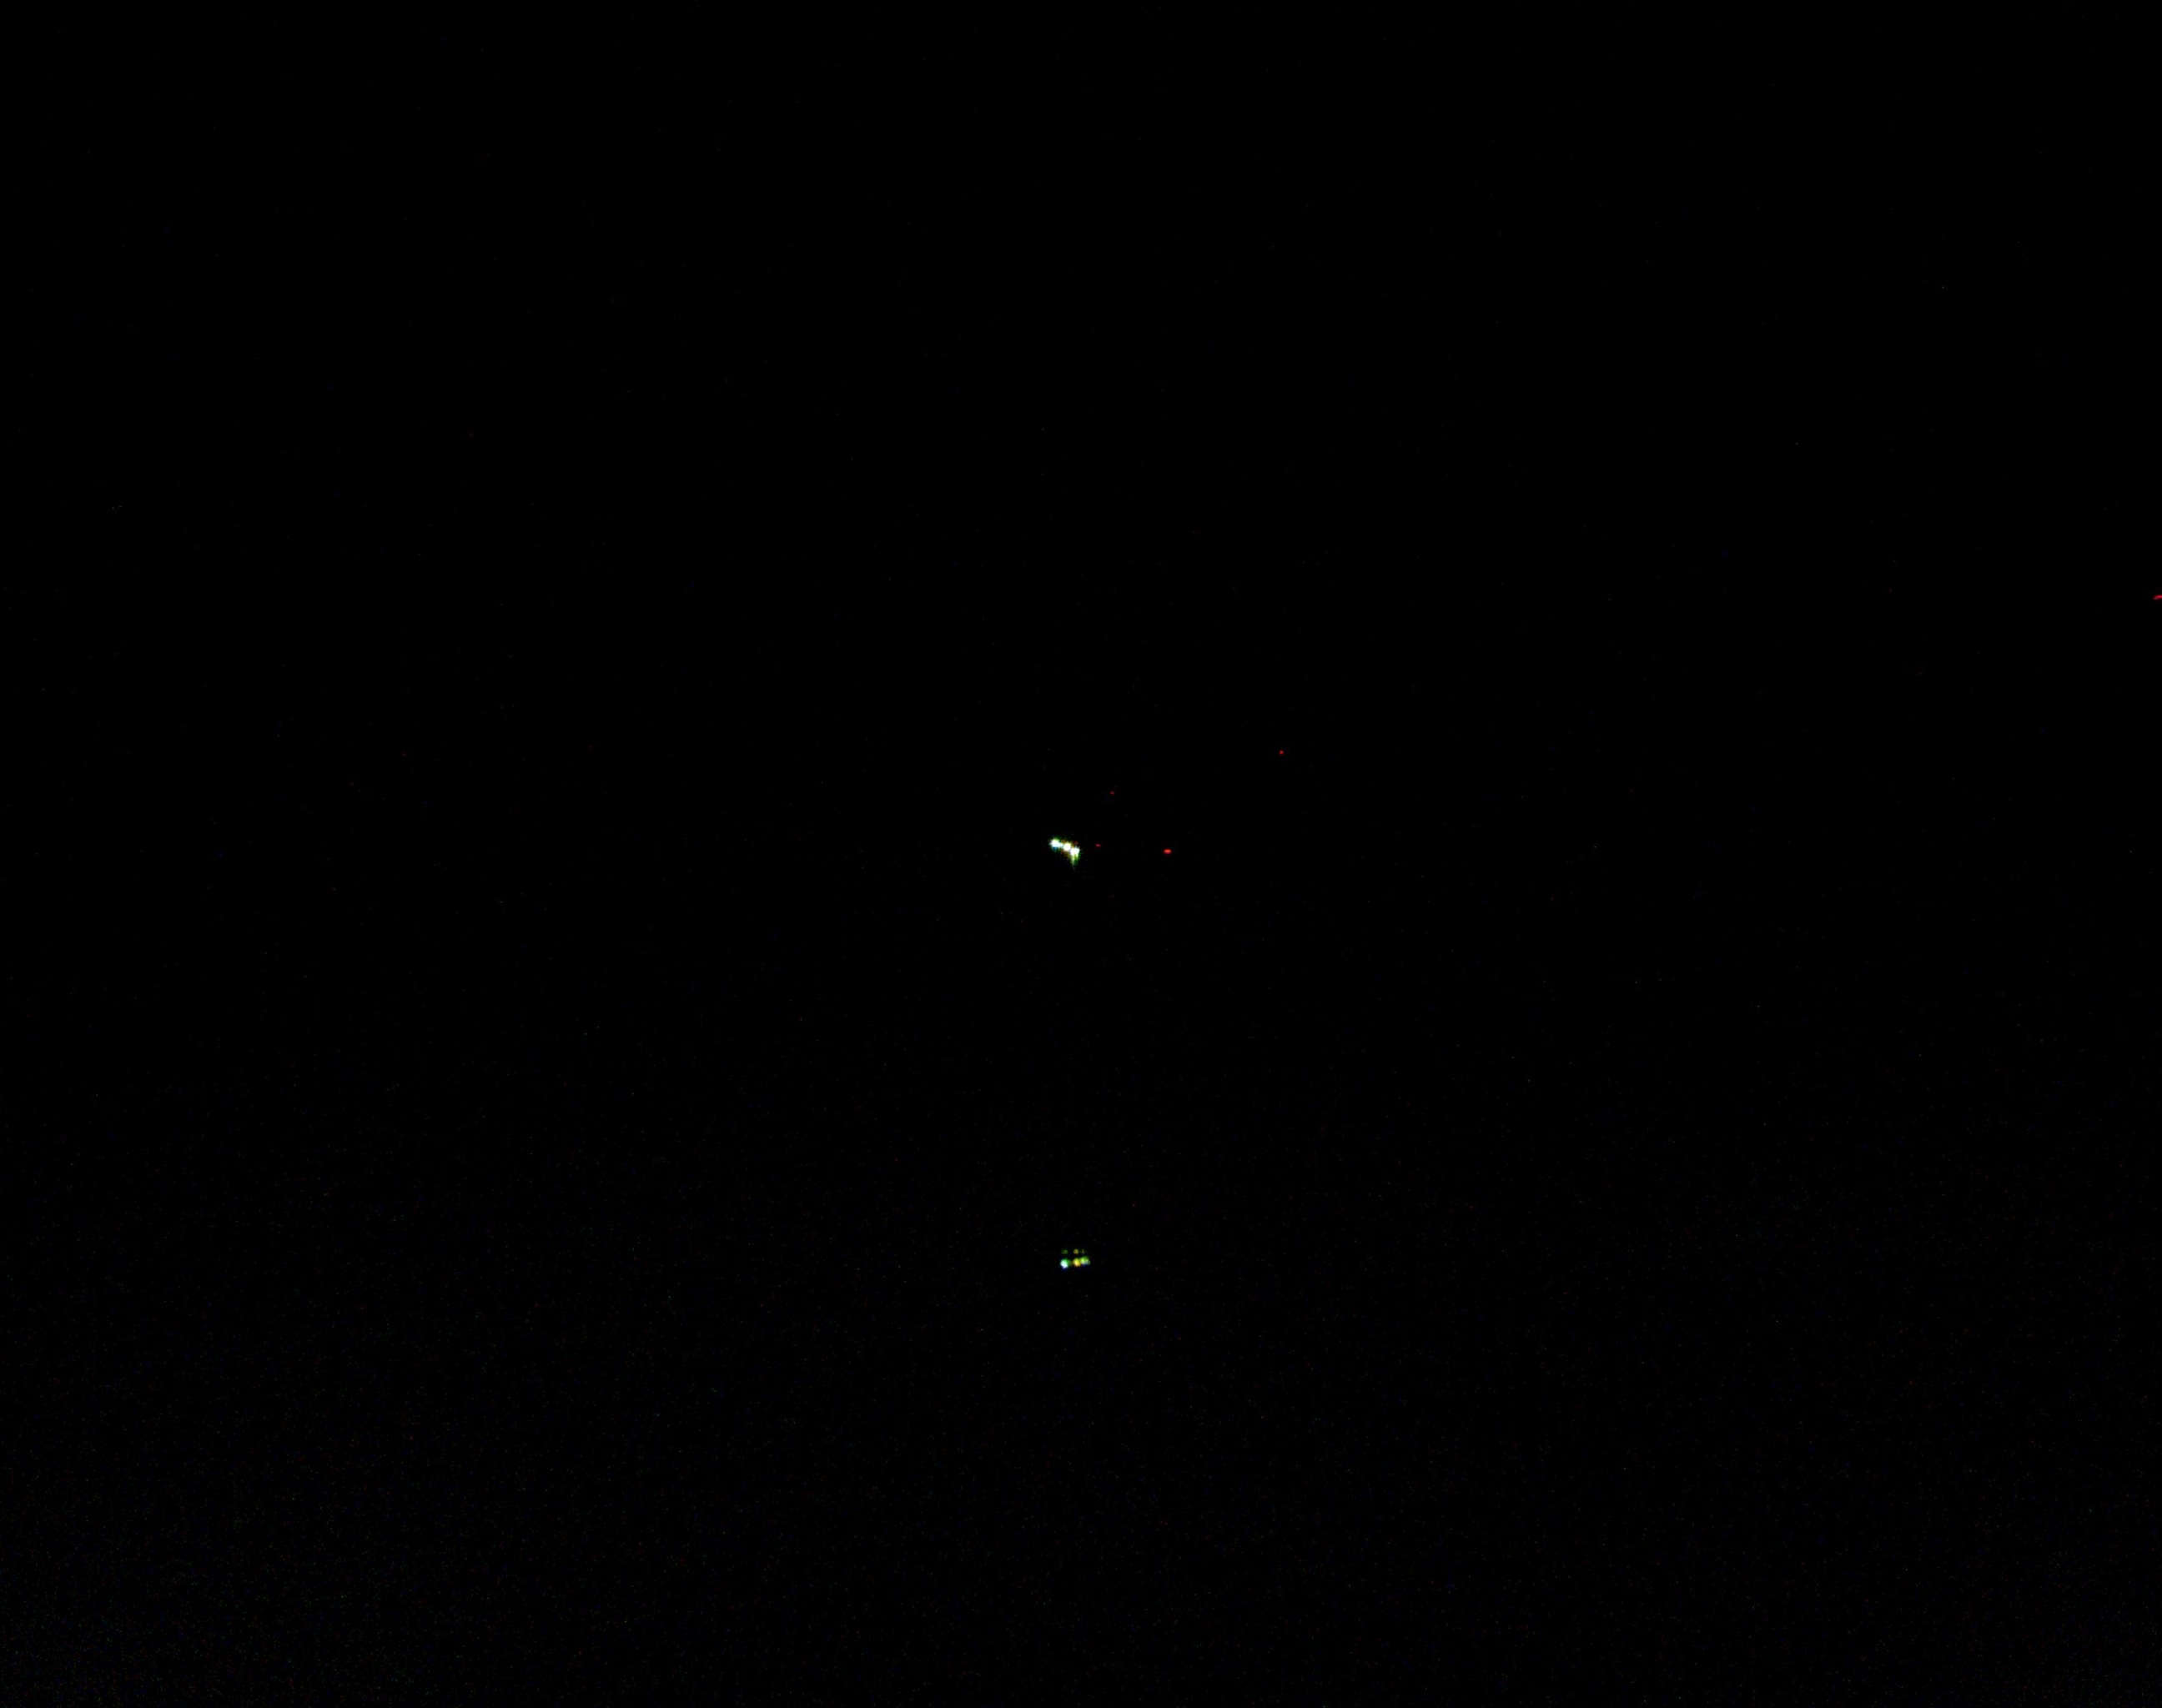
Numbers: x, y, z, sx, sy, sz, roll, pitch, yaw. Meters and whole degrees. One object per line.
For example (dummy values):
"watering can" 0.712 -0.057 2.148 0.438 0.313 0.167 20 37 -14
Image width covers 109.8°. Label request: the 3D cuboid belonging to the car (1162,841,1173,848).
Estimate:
"car" 20.569 -2.244 180.719 1.998 1.735 5.071 -2 1 1
